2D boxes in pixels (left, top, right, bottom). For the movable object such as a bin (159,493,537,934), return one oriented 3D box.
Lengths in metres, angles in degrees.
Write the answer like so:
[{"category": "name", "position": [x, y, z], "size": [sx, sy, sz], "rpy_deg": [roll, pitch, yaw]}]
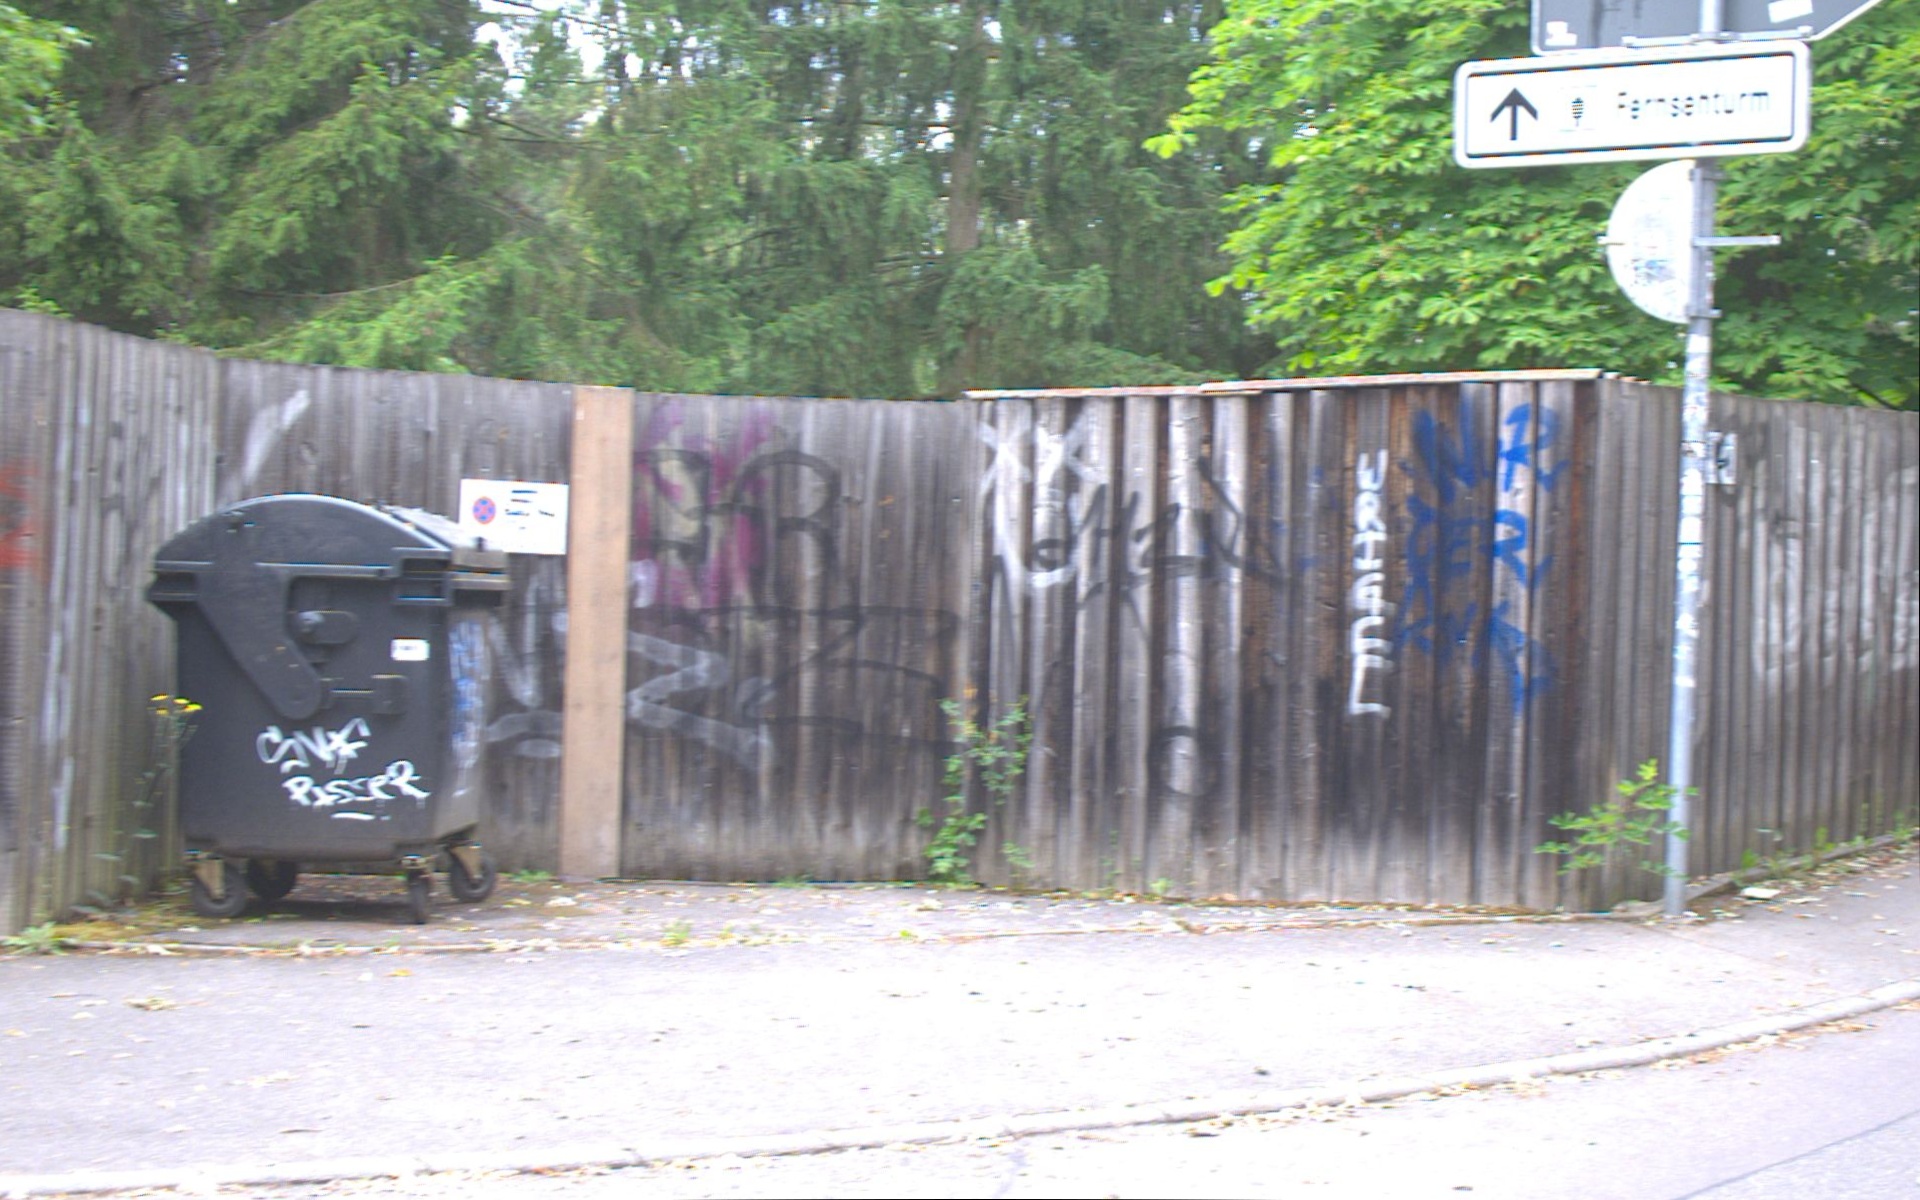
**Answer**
[{"category": "movable object such as a bin", "position": [-2.110, 0.371, 12.046], "size": [1.075, 1.437, 1.286], "rpy_deg": [1, 0, -1]}]
